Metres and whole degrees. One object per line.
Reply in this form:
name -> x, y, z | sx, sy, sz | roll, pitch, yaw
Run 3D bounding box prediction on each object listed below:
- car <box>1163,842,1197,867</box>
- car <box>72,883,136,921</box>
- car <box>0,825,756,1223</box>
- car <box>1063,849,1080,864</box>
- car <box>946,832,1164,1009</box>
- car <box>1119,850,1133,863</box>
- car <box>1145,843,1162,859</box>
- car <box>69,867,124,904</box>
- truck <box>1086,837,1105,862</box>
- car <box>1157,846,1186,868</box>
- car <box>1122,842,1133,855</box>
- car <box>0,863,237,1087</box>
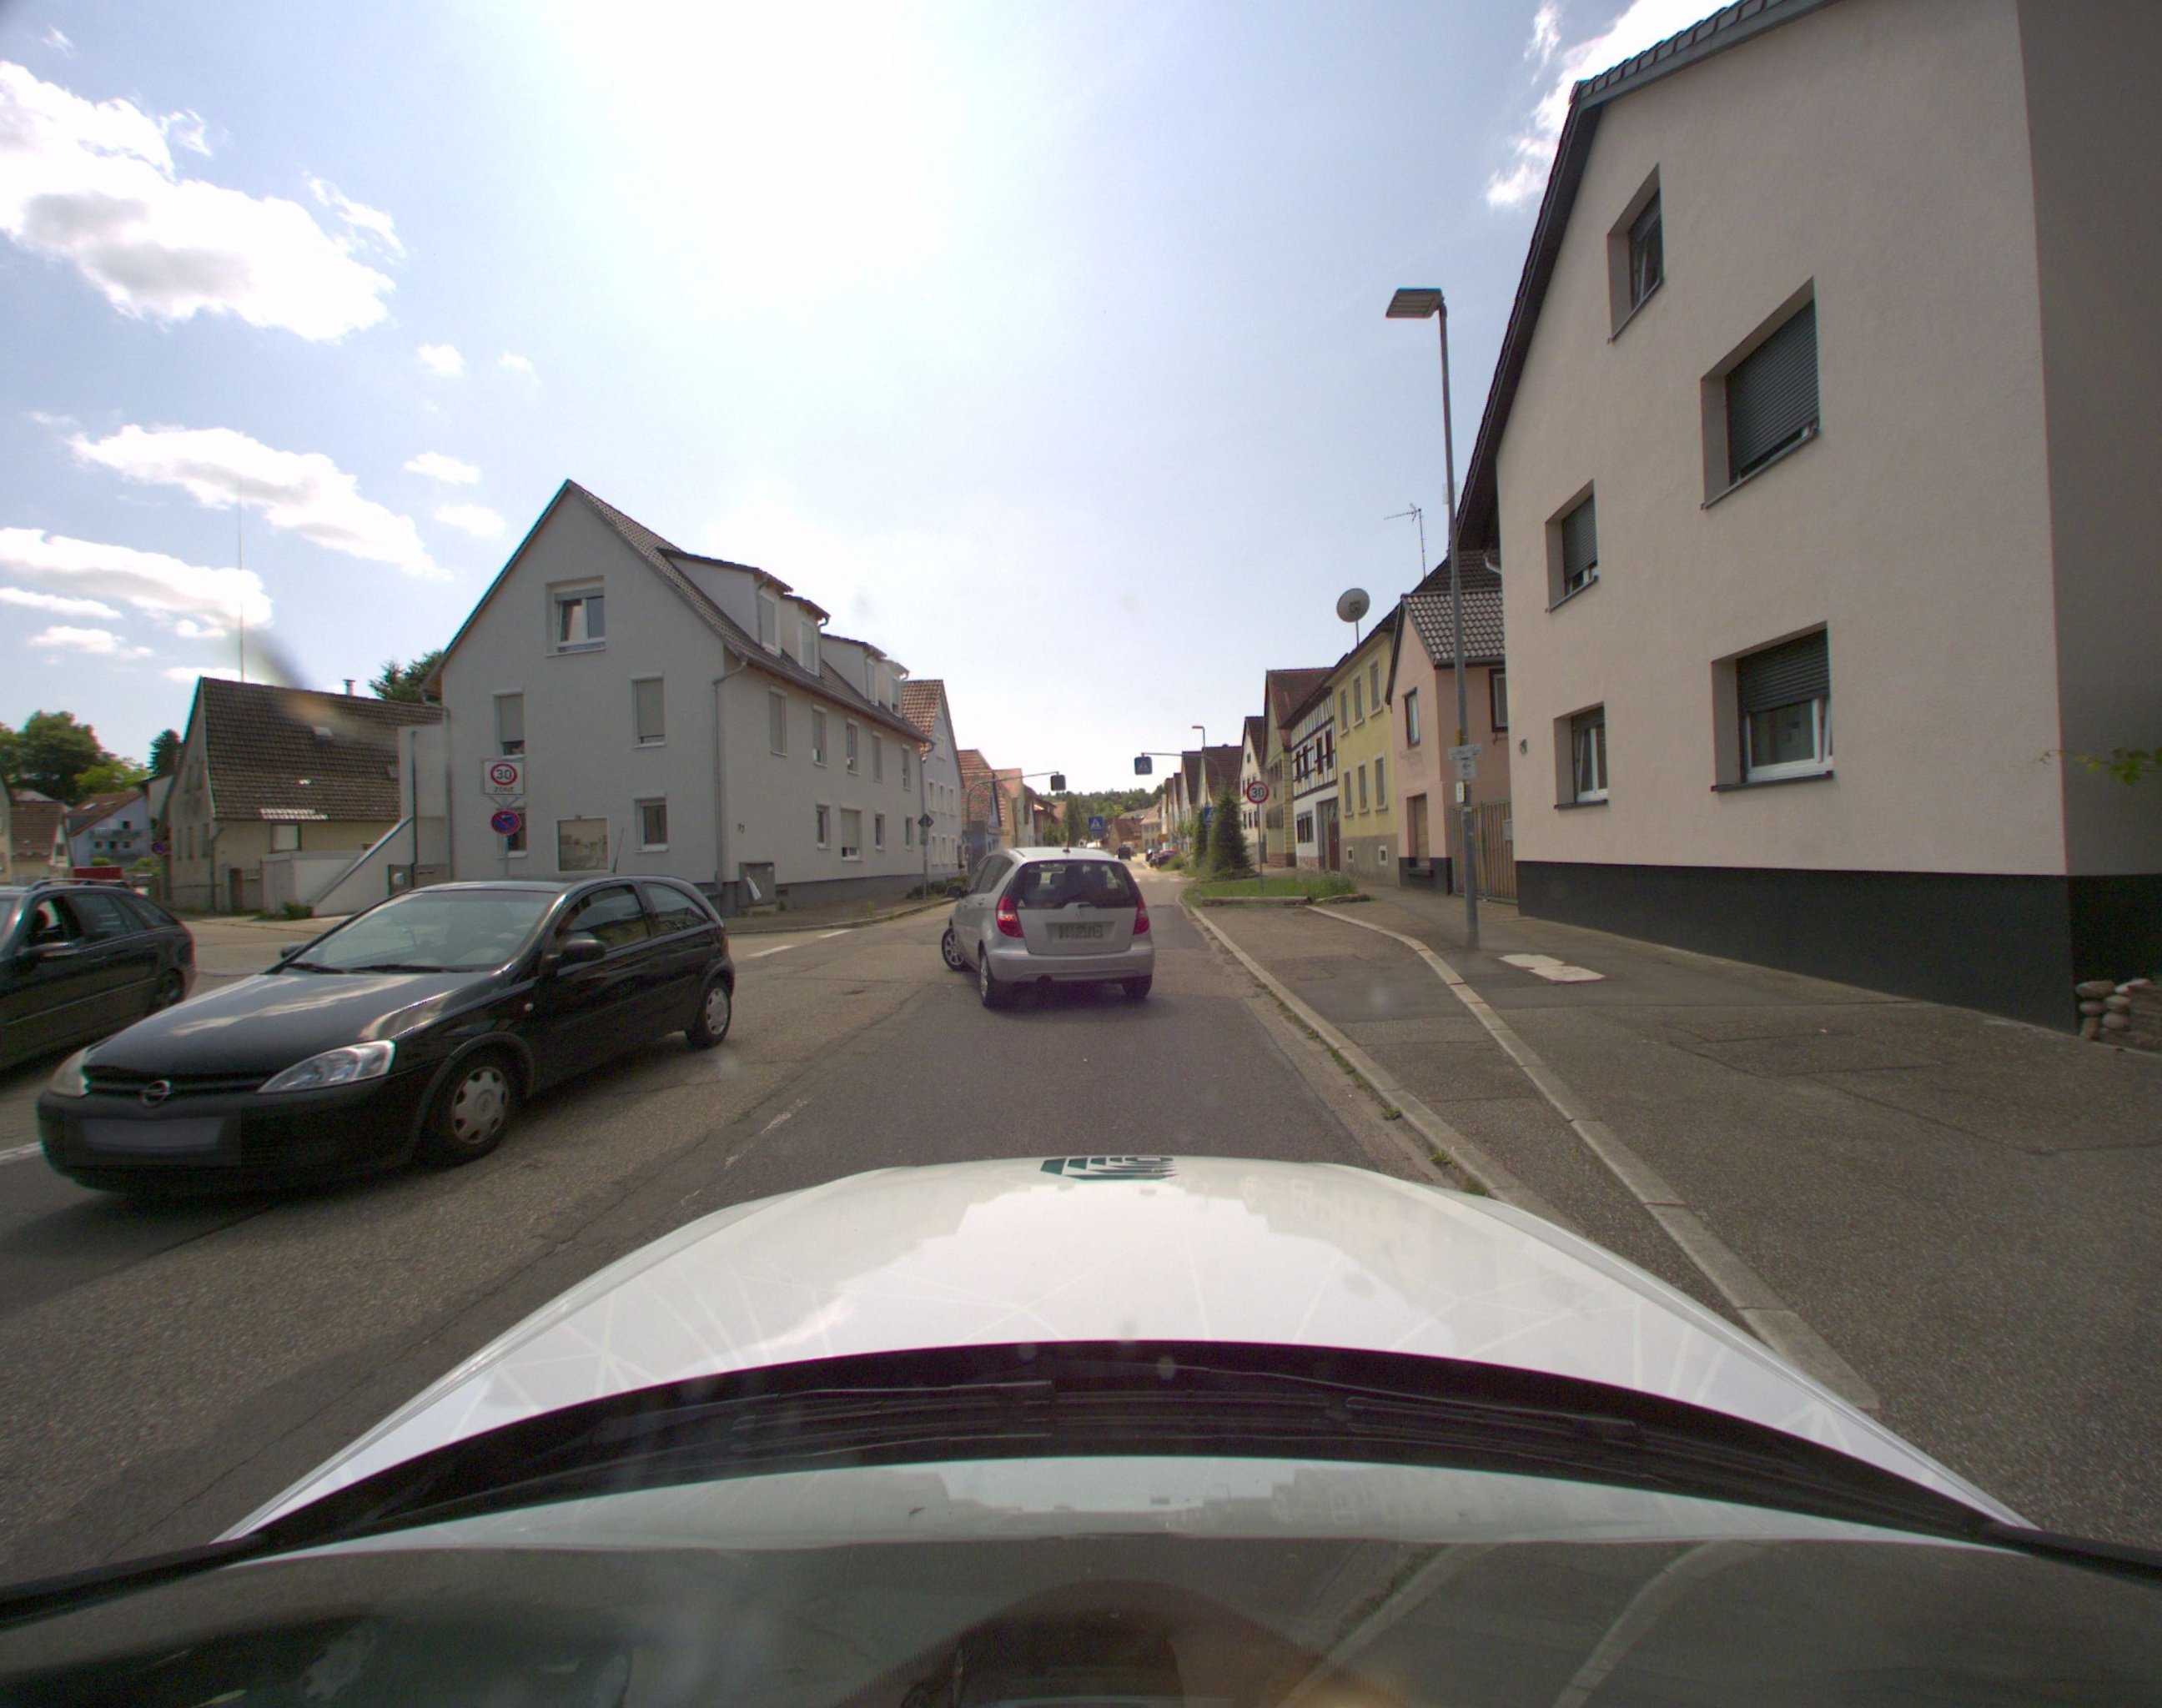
car -> 6.694, 0.069, 55.671 | 1.985, 1.508, 4.002 | -1, -2, 2
car -> -41.852, 2.038, 34.869 | 3.431, 1.530, 1.500 | -3, -2, 36
car -> -3.673, 0.744, 5.246 | 1.494, 1.540, 3.856 | -3, -2, 1
car -> -1.072, 0.329, 93.579 | 1.660, 1.596, 4.002 | -1, -2, 3
car -> -0.510, 0.633, 9.595 | 1.813, 1.643, 3.710 | 0, -1, -14
car -> 6.520, 0.407, 118.318 | 1.986, 1.816, 4.001 | -1, -2, 1
car -> 9.358, -0.393, 105.738 | 1.986, 1.816, 4.001 | -1, -2, 1
car -> -46.290, 1.491, 38.269 | 3.431, 1.635, 1.406 | -3, -2, 36
truck -> 1.660, -0.457, 93.215 | 1.986, 2.537, 6.741 | -1, -2, 2
car -> 6.887, 0.267, 62.336 | 1.985, 1.508, 4.002 | -1, -2, 2
car -> 8.487, -0.996, 148.379 | 1.986, 2.014, 4.002 | -1, -2, 2
car -> -8.381, 0.827, 5.995 | 1.820, 1.412, 4.590 | 0, -2, -31
